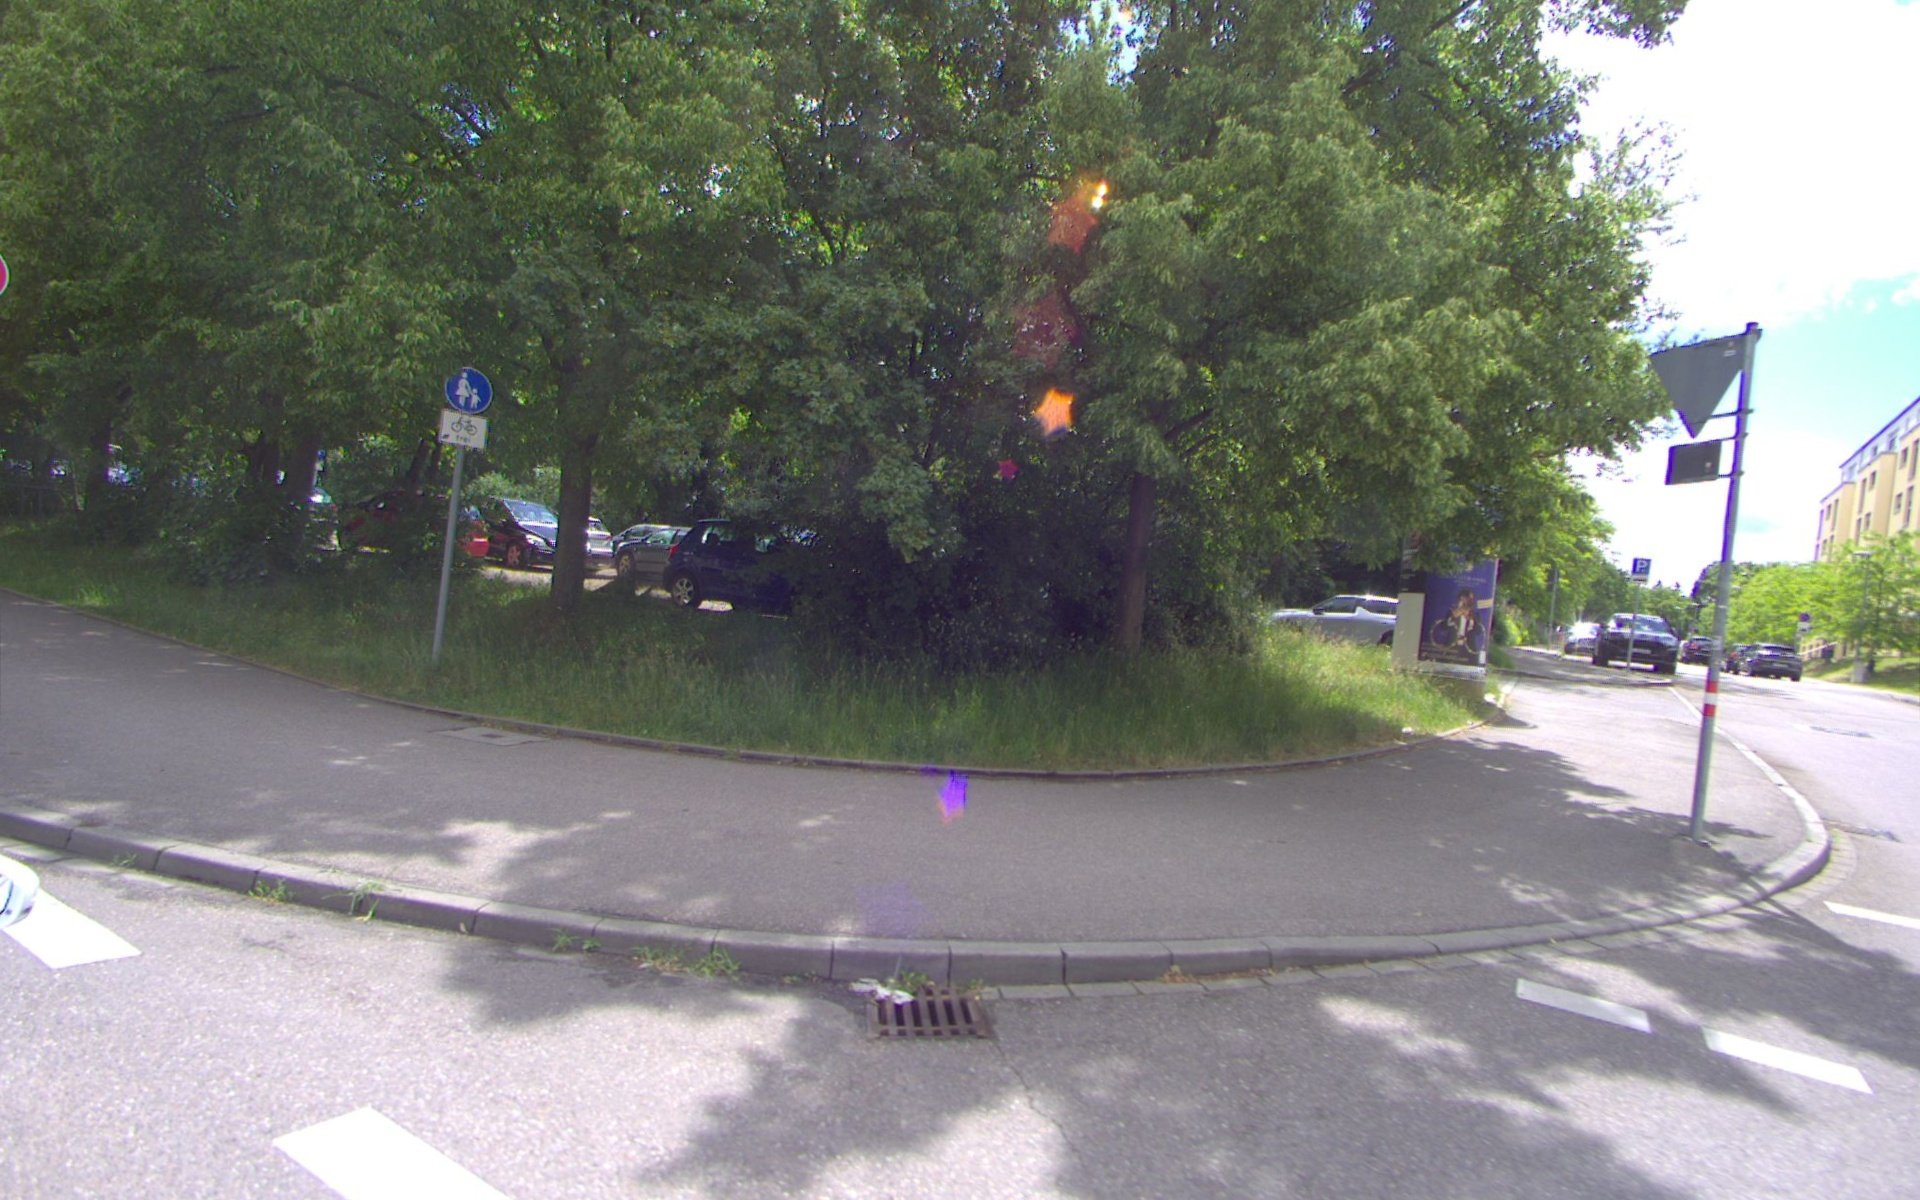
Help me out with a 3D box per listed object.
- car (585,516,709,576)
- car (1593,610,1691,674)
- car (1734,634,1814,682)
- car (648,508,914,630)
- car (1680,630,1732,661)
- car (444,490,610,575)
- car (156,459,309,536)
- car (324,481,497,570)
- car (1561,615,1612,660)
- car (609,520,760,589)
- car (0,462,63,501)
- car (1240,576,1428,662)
[{"bbox_3d":[-11.614,-2.014,37.295,4.030,1.644,2.062,7,0,30],"label":"car"},{"bbox_3d":[20.635,1.260,30.605,1.966,1.606,4.317,7,2,30],"label":"car"},{"bbox_3d":[35.492,2.484,43.973,1.918,1.740,3.988,7,3,30],"label":"car"},{"bbox_3d":[-2.869,-0.500,16.012,3.749,1.530,1.827,5,-1,29],"label":"car"},{"bbox_3d":[46.362,2.821,62.570,1.966,1.606,3.989,7,2,30],"label":"car"},{"bbox_3d":[-10.294,-1.606,23.877,3.601,1.603,1.753,7,2,31],"label":"car"},{"bbox_3d":[-18.286,-2.583,25.254,4.069,1.535,1.627,7,3,31],"label":"car"},{"bbox_3d":[-11.982,-1.626,21.890,3.601,1.520,1.662,7,2,31],"label":"car"},{"bbox_3d":[32.467,1.923,52.231,1.966,2.041,3.988,7,3,31],"label":"car"},{"bbox_3d":[-7.645,-1.267,27.837,3.793,1.461,1.756,7,2,29],"label":"car"},{"bbox_3d":[-42.685,-5.430,45.772,4.280,1.461,1.613,7,2,32],"label":"car"},{"bbox_3d":[9.069,0.436,24.459,3.915,1.606,1.637,7,2,30],"label":"car"}]
